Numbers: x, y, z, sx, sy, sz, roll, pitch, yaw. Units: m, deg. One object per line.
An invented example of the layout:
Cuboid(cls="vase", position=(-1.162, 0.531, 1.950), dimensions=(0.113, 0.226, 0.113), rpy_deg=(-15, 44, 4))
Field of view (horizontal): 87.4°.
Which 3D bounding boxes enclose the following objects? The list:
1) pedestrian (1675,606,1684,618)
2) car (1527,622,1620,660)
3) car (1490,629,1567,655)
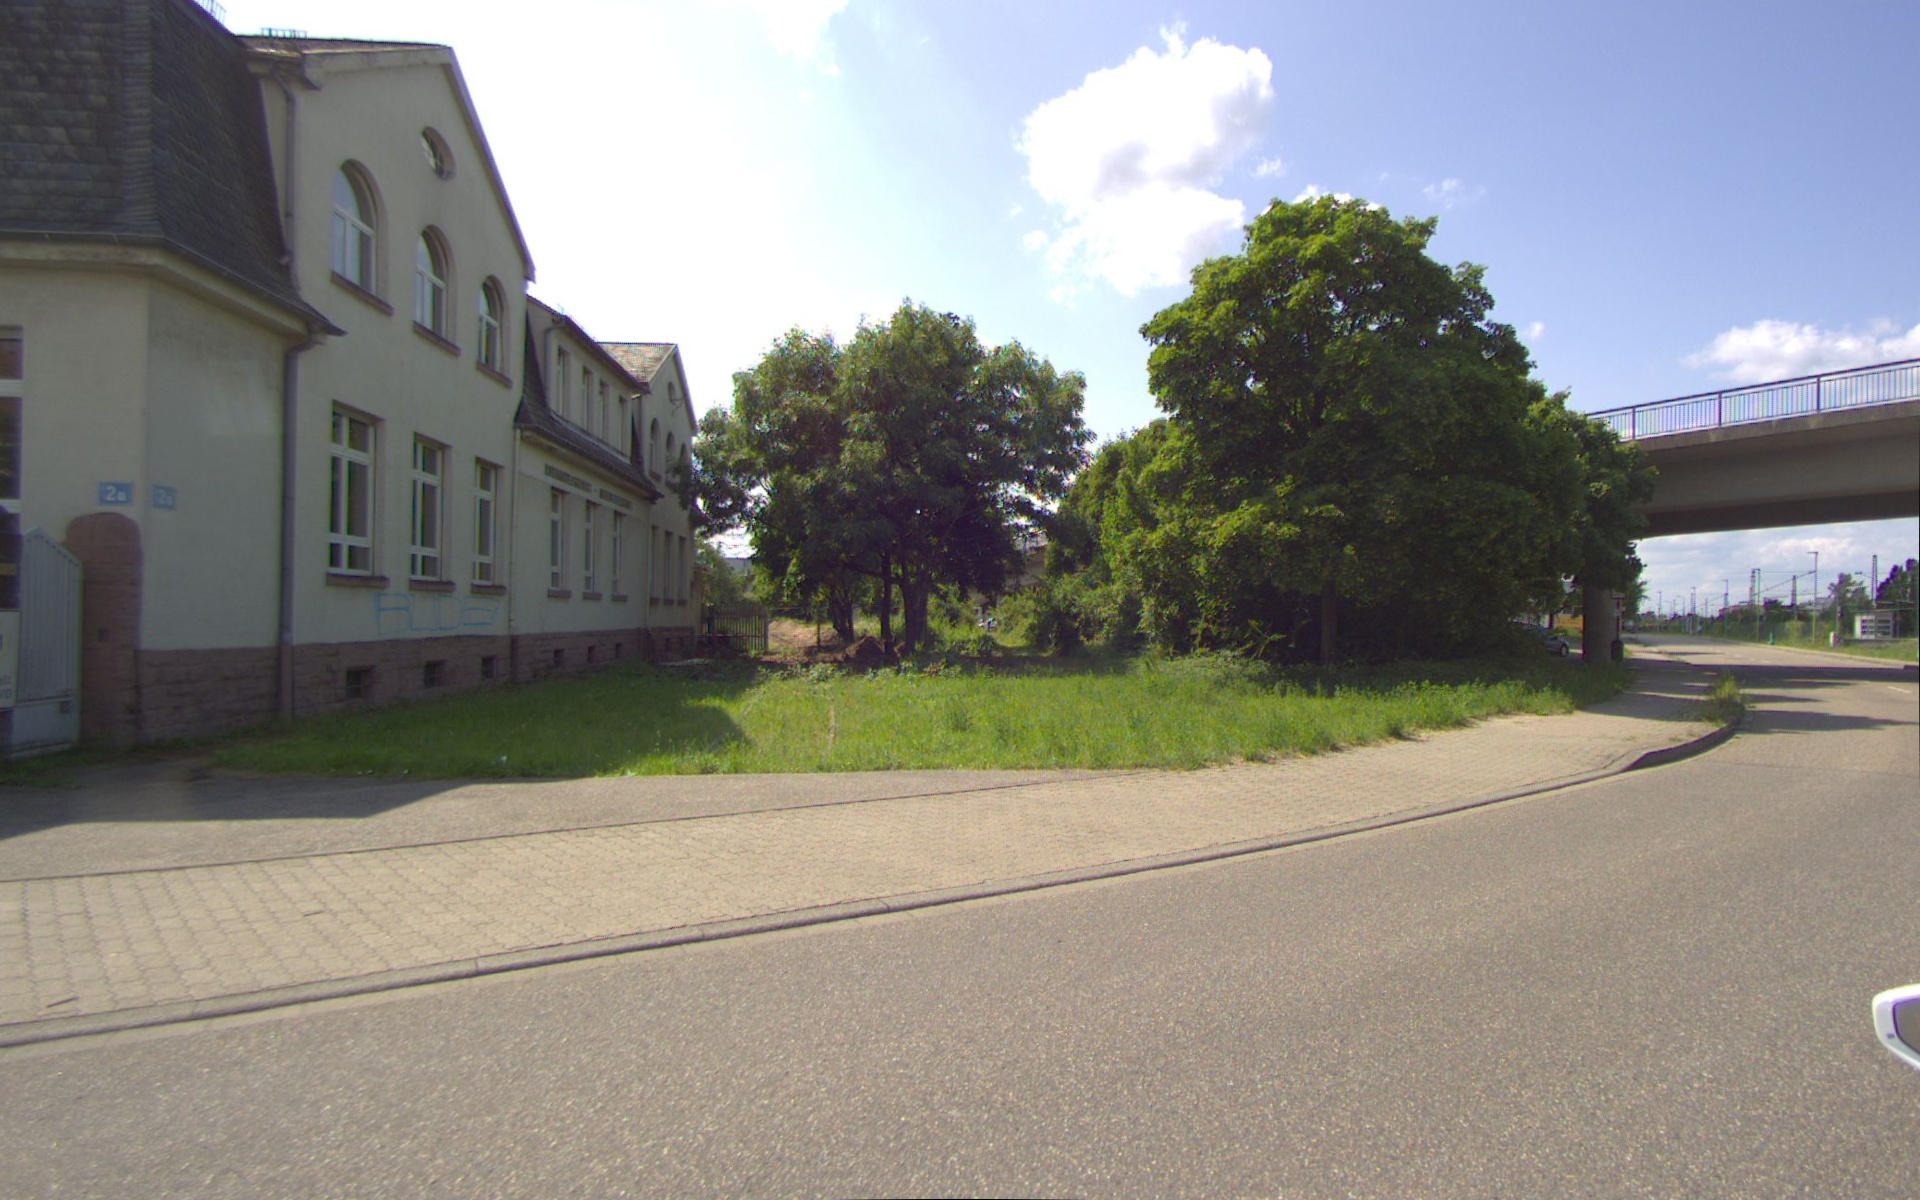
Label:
Cuboid(cls="pedestrian", position=(130.176, 2.145, 181.815), dimensions=(1.040, 2.040, 0.850), rpy_deg=(0, 0, -7))
Cuboid(cls="car", position=(27.777, 1.818, 45.465), dimensions=(4.521, 1.651, 1.671), rpy_deg=(0, -2, -31))
Cuboid(cls="car", position=(29.657, 2.172, 52.376), dimensions=(3.397, 1.301, 1.686), rpy_deg=(0, -2, -20))
